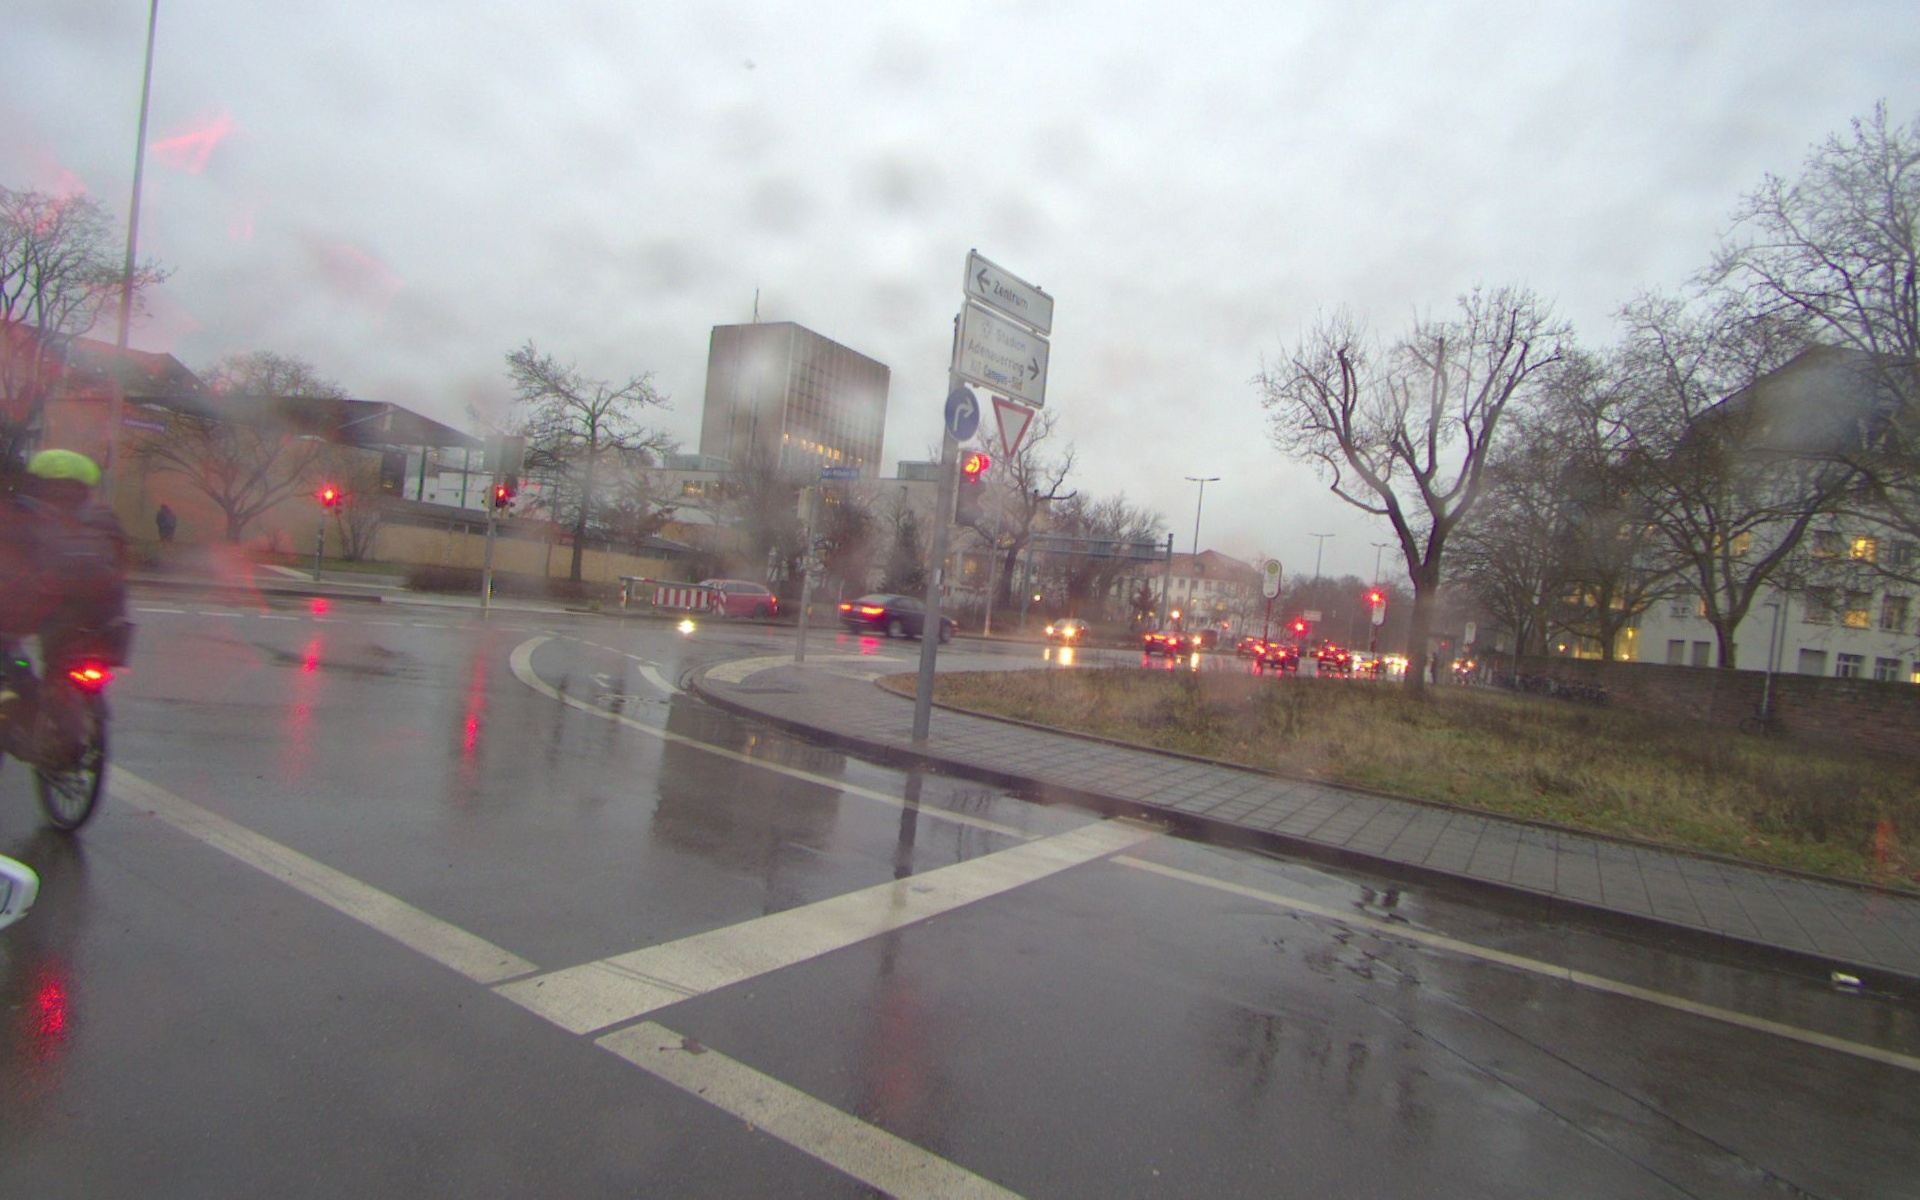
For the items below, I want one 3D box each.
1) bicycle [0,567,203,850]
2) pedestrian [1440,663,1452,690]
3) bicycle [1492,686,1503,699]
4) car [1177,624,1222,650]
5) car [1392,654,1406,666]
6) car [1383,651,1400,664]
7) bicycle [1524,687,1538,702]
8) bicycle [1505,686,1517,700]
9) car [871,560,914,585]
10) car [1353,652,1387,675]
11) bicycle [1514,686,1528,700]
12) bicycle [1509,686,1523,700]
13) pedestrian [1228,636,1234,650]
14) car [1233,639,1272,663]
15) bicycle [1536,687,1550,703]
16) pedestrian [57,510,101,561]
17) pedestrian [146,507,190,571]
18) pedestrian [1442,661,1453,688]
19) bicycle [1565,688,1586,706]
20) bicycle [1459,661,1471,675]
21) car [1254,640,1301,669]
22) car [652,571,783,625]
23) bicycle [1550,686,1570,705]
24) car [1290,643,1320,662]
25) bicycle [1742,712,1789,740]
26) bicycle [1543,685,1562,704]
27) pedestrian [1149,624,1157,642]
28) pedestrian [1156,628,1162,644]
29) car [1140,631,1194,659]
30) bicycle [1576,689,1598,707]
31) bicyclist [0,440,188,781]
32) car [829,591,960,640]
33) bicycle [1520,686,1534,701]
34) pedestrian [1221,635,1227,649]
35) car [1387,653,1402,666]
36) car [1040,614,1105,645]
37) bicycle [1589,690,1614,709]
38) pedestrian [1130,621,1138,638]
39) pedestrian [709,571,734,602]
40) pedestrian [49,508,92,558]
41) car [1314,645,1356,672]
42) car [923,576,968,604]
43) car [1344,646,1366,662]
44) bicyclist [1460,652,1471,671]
[{"bbox_3d":[-4.612,0.428,4.860,1.925,1.087,0.785,6,-2,32],"label":"bicycle"},{"bbox_3d":[30.149,4.734,62.421,0.462,1.623,0.486,7,-1,25],"label":"pedestrian"},{"bbox_3d":[36.388,6.249,68.109,0.387,0.795,1.532,7,-2,20],"label":"bicycle"},{"bbox_3d":[20.988,3.288,87.909,2.015,1.903,5.323,6,0,33],"label":"car"},{"bbox_3d":[76.132,10.395,174.313,1.834,1.783,3.993,7,1,27],"label":"car"},{"bbox_3d":[66.984,8.957,156.198,1.965,1.783,3.993,7,1,27],"label":"car"},{"bbox_3d":[32.837,5.406,57.869,0.387,0.795,1.532,7,-2,19],"label":"bicycle"},{"bbox_3d":[34.847,5.868,63.628,0.387,0.795,1.532,7,-2,20],"label":"bicycle"},{"bbox_3d":[-7.112,-2.916,106.447,2.014,2.102,4.892,6,0,30],"label":"car"},{"bbox_3d":[34.246,5.287,83.986,1.811,1.710,4.311,6,0,32],"label":"car"},{"bbox_3d":[33.826,5.616,60.666,0.387,0.795,1.532,7,-2,20],"label":"bicycle"},{"bbox_3d":[34.347,5.743,62.154,0.387,0.795,1.532,7,-2,20],"label":"bicycle"},{"bbox_3d":[33.823,5.369,125.615,0.404,1.713,0.427,7,2,28],"label":"pedestrian"},{"bbox_3d":[22.515,3.942,77.305,1.810,1.602,4.128,6,0,31],"label":"car"},{"bbox_3d":[32.409,5.292,55.955,0.387,0.795,1.607,7,-2,22],"label":"bicycle"},{"bbox_3d":[-29.530,-2.147,33.718,1.028,1.553,0.923,8,2,41],"label":"pedestrian"},{"bbox_3d":[-28.175,-2.174,35.783,0.881,2.141,0.883,7,2,34],"label":"pedestrian"},{"bbox_3d":[39.081,5.972,80.625,0.557,2.040,0.595,8,2,33],"label":"pedestrian"},{"bbox_3d":[31.035,4.877,50.747,0.343,0.848,1.493,7,-2,13],"label":"bicycle"},{"bbox_3d":[45.238,6.107,90.174,0.599,1.181,1.682,7,-2,19],"label":"bicycle"},{"bbox_3d":[20.281,3.520,64.112,1.811,1.602,4.127,6,0,31],"label":"car"},{"bbox_3d":[-8.670,-0.035,36.277,1.784,1.496,4.411,6,0,37],"label":"car"},{"bbox_3d":[31.353,4.981,52.559,0.387,0.868,1.532,7,-2,15],"label":"bicycle"},{"bbox_3d":[39.777,6.037,115.952,1.915,1.903,4.918,6,0,33],"label":"car"},{"bbox_3d":[28.198,4.400,35.228,0.387,0.834,1.386,7,-2,-4],"label":"bicycle"},{"bbox_3d":[31.838,5.076,54.090,0.387,0.927,1.532,7,-2,15],"label":"bicycle"},{"bbox_3d":[19.004,3.260,99.061,0.411,1.725,0.430,8,3,44],"label":"pedestrian"},{"bbox_3d":[21.953,4.018,111.054,0.409,1.725,0.432,7,2,23],"label":"pedestrian"},{"bbox_3d":[11.523,2.511,55.894,1.673,1.318,3.759,6,0,31],"label":"car"},{"bbox_3d":[30.545,4.770,49.003,0.387,0.795,1.533,7,-2,14],"label":"bicycle"},{"bbox_3d":[-4.499,0.026,4.824,1.115,1.470,0.785,6,-1,32],"label":"bicyclist"},{"bbox_3d":[-2.233,0.593,35.564,1.910,1.318,4.681,6,0,37],"label":"car"},{"bbox_3d":[33.320,5.489,59.147,0.387,0.795,1.532,7,-2,20],"label":"bicycle"},{"bbox_3d":[32.969,5.254,125.670,0.404,1.713,0.561,7,2,28],"label":"pedestrian"},{"bbox_3d":[71.183,9.694,164.669,1.834,1.783,3.993,7,1,27],"label":"car"},{"bbox_3d":[6.762,1.785,60.177,1.784,1.496,4.411,6,0,37],"label":"car"},{"bbox_3d":[30.271,4.674,47.479,0.352,0.795,1.415,7,-2,8],"label":"bicycle"},{"bbox_3d":[17.406,2.946,100.630,0.411,1.725,0.430,8,3,44],"label":"pedestrian"},{"bbox_3d":[-13.178,-0.743,55.604,0.783,1.624,0.960,8,2,39],"label":"pedestrian"},{"bbox_3d":[-30.352,-2.286,34.328,0.873,1.553,0.891,8,2,40],"label":"pedestrian"},{"bbox_3d":[28.148,4.432,75.363,1.812,1.710,4.310,6,-1,35],"label":"car"},{"bbox_3d":[-1.431,-0.997,103.230,2.014,2.452,5.326,6,0,30],"label":"car"},{"bbox_3d":[51.645,7.074,131.493,1.966,1.783,3.992,7,1,29],"label":"car"},{"bbox_3d":[45.314,5.535,90.188,0.599,1.660,0.453,7,-1,19],"label":"bicyclist"}]
